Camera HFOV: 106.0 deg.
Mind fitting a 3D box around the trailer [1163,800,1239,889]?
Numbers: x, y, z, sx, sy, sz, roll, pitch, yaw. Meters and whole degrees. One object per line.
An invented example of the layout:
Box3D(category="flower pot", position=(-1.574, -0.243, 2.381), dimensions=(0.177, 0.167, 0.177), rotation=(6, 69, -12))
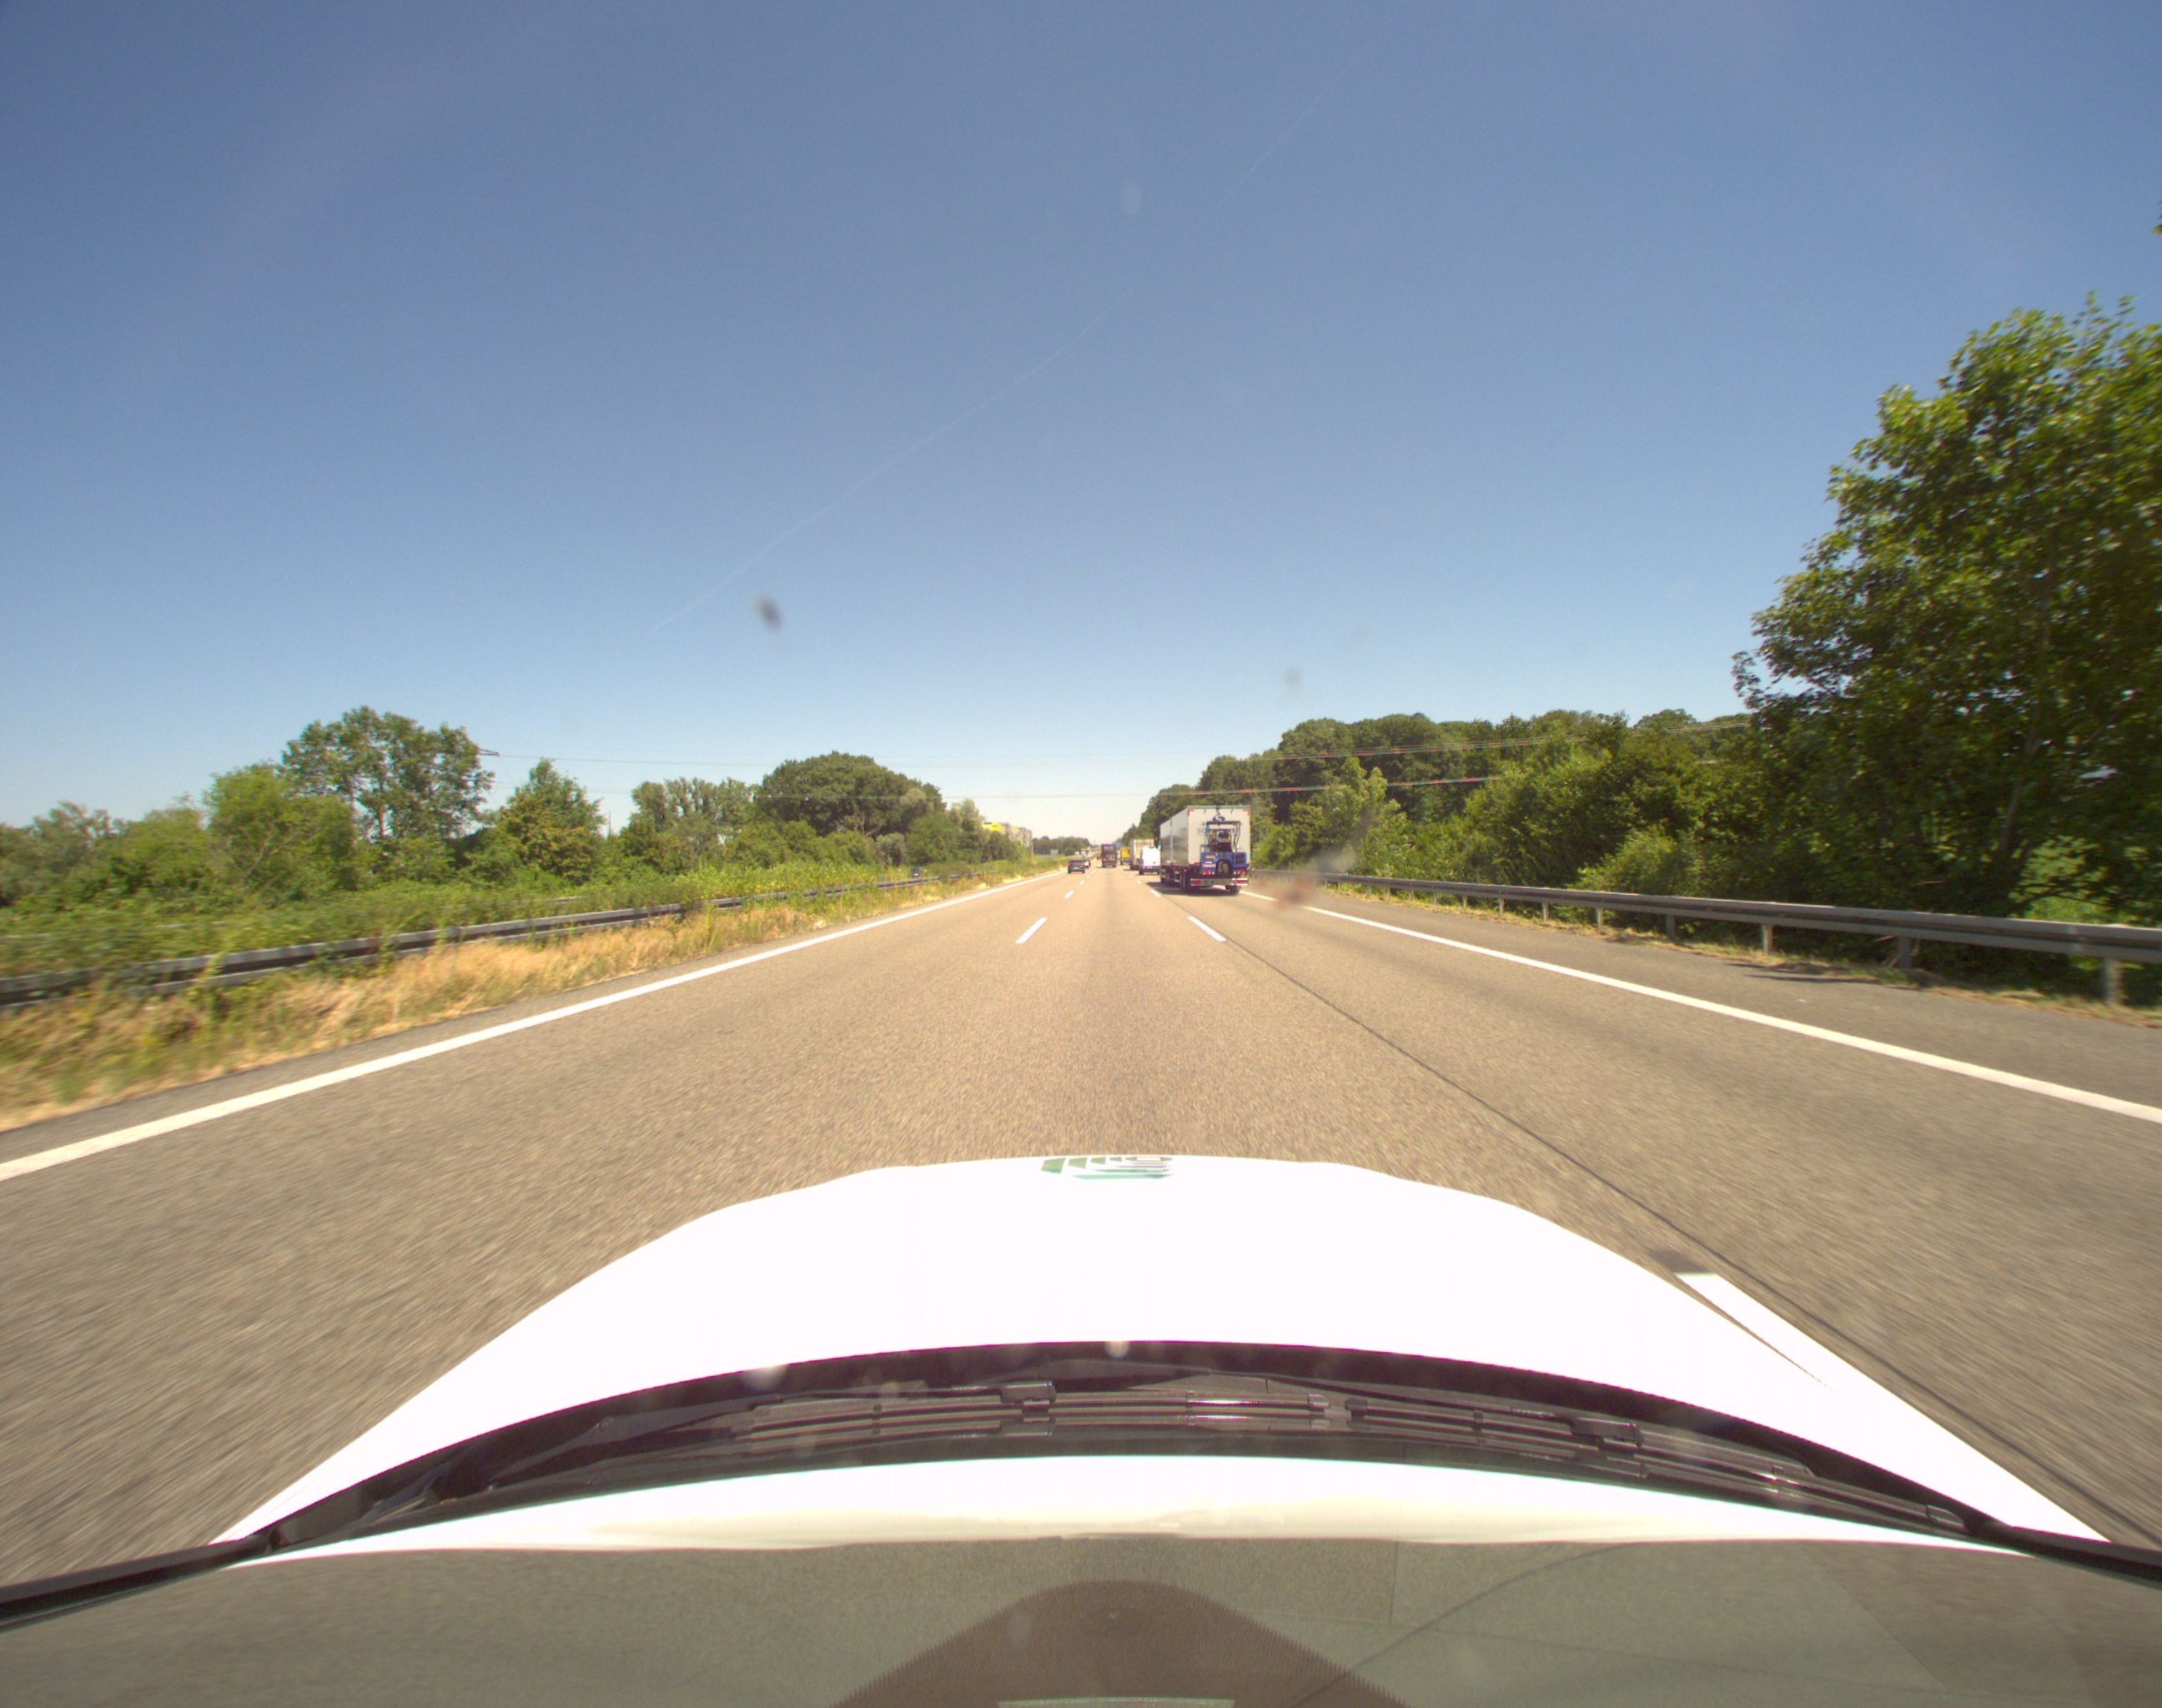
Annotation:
Box3D(category="trailer", position=(5.832, -0.391, 40.791), dimensions=(2.909, 4.041, 7.319), rotation=(0, -1, 2))

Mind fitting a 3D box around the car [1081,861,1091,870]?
Box3D(category="car", position=(0.991, 2.253, 158.362), dimensions=(1.934, 1.706, 4.001), rotation=(-2, 0, 1))

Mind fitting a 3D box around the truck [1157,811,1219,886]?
Box3D(category="truck", position=(6.065, -0.266, 47.100), dimensions=(2.878, 4.030, 6.873), rotation=(0, -1, 2))

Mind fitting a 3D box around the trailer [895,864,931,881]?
Box3D(category="trailer", position=(-18.384, 2.021, 89.513), dimensions=(2.479, 1.684, 6.492), rotation=(-2, 0, 2))

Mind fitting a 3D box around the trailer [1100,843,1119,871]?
Box3D(category="trailer", position=(4.855, 0.544, 142.266), dimensions=(3.095, 4.507, 14.898), rotation=(-1, 0, 1))

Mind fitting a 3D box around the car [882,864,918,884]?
Box3D(category="car", position=(-18.551, 2.030, 83.801), dimensions=(2.445, 1.872, 5.030), rotation=(-2, 0, 1))

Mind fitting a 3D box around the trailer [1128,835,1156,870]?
Box3D(category="trailer", position=(7.868, -0.111, 106.704), dimensions=(2.982, 4.289, 13.423), rotation=(0, 0, 2))

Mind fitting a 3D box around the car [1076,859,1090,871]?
Box3D(category="car", position=(0.313, 1.639, 124.527), dimensions=(1.986, 1.728, 4.131), rotation=(-1, 0, 1))

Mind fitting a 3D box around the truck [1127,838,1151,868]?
Box3D(category="truck", position=(8.054, -0.113, 113.757), dimensions=(2.991, 4.125, 5.254), rotation=(-1, -1, 2))

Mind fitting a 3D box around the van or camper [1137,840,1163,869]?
Box3D(category="van or camper", position=(6.398, 0.041, 76.327), dimensions=(2.015, 2.637, 6.489), rotation=(-1, 0, 1))

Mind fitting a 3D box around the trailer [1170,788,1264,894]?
Box3D(category="trailer", position=(5.661, -0.461, 35.324), dimensions=(2.934, 4.063, 8.130), rotation=(0, -1, 2))

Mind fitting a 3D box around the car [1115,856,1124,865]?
Box3D(category="car", position=(9.281, 1.625, 198.351), dimensions=(1.986, 2.014, 4.001), rotation=(-2, -1, 1))

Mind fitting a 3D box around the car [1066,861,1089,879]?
Box3D(category="car", position=(-0.329, 1.671, 88.583), dimensions=(2.208, 1.790, 5.395), rotation=(-2, 0, 2))

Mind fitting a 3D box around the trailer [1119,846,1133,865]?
Box3D(category="trailer", position=(9.761, 0.276, 177.495), dimensions=(2.824, 3.953, 11.687), rotation=(-1, 0, 1))
